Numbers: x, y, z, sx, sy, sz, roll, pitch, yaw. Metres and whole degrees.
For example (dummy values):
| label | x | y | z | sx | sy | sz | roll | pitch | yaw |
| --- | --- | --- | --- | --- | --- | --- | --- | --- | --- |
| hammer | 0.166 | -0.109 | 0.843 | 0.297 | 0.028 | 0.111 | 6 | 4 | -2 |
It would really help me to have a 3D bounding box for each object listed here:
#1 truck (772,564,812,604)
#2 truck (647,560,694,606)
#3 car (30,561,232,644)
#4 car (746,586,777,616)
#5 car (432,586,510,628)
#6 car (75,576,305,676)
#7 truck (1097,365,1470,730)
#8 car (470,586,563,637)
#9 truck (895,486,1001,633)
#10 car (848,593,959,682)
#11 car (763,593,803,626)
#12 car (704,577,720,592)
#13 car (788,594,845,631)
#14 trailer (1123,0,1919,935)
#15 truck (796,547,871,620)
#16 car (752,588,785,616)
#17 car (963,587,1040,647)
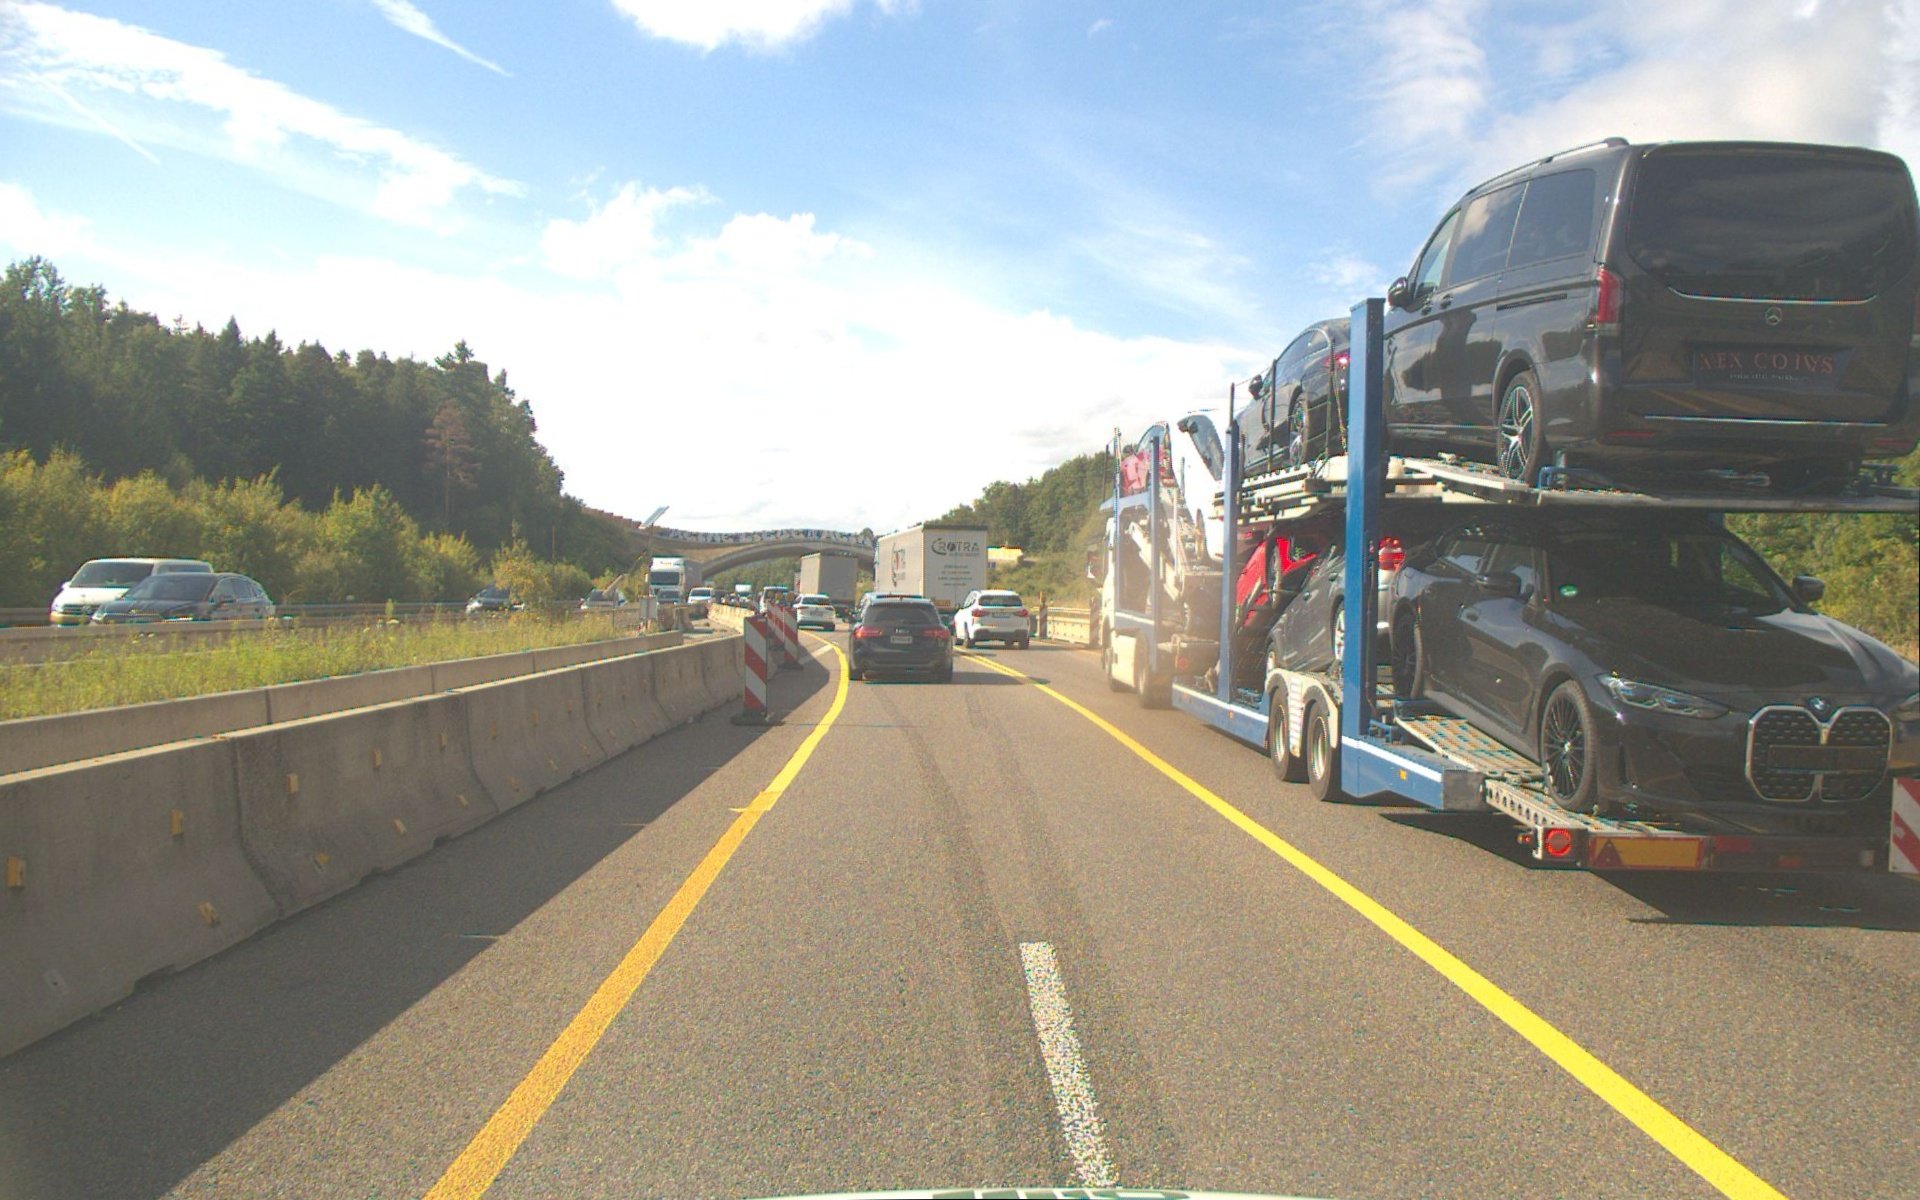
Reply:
| label | x | y | z | sx | sy | sz | roll | pitch | yaw |
| --- | --- | --- | --- | --- | --- | --- | --- | --- | --- |
| truck | -17.704 | -1.625 | 173.624 | 3.586 | 3.997 | 11.046 | 1 | 0 | -8 |
| truck | -22.005 | -1.251 | 125.972 | 2.701 | 3.356 | 5.811 | 1 | 0 | -2 |
| car | -17.767 | 0.043 | 35.736 | 1.928 | 1.630 | 4.946 | 1 | 0 | -1 |
| car | -14.224 | 0.042 | 118.146 | 1.957 | 2.049 | 3.991 | 1 | 0 | -10 |
| car | -19.828 | 0.260 | 67.292 | 1.929 | 1.630 | 4.944 | 1 | 0 | -3 |
| car | -13.830 | 0.429 | 30.069 | 1.928 | 1.630 | 4.946 | 1 | 0 | -1 |
| truck | 4.175 | -0.634 | 23.605 | 3.684 | 4.269 | 7.950 | 1 | 0 | 0 |
| car | -15.007 | 0.362 | 56.226 | 1.928 | 1.630 | 4.946 | 1 | 0 | -1 |
| truck | -0.758 | -1.538 | 69.851 | 3.604 | 5.447 | 16.190 | 1 | 0 | -3 |
| car | -1.016 | 0.623 | 29.937 | 1.852 | 1.472 | 3.999 | 1 | 0 | -2 |
| car | -9.266 | 0.487 | 86.275 | 1.855 | 1.672 | 4.009 | 1 | 0 | -9 |
| car | -32.319 | -2.025 | 215.311 | 1.745 | 1.899 | 3.996 | 1 | 0 | -5 |
| car | -6.021 | 0.505 | 68.935 | 1.857 | 1.472 | 3.988 | 1 | 0 | -12 |
| trailer | 4.228 | -0.619 | 15.698 | 3.650 | 4.269 | 16.226 | 1 | 0 | 0 |
| truck | -8.677 | -1.074 | 112.176 | 4.239 | 4.681 | 11.102 | 1 | 0 | -9 |
| car | -11.630 | 0.106 | 100.269 | 1.855 | 1.672 | 4.010 | 1 | 0 | -8 |
| car | 1.190 | 0.473 | 49.019 | 1.853 | 1.672 | 4.014 | 1 | 0 | -4 |
